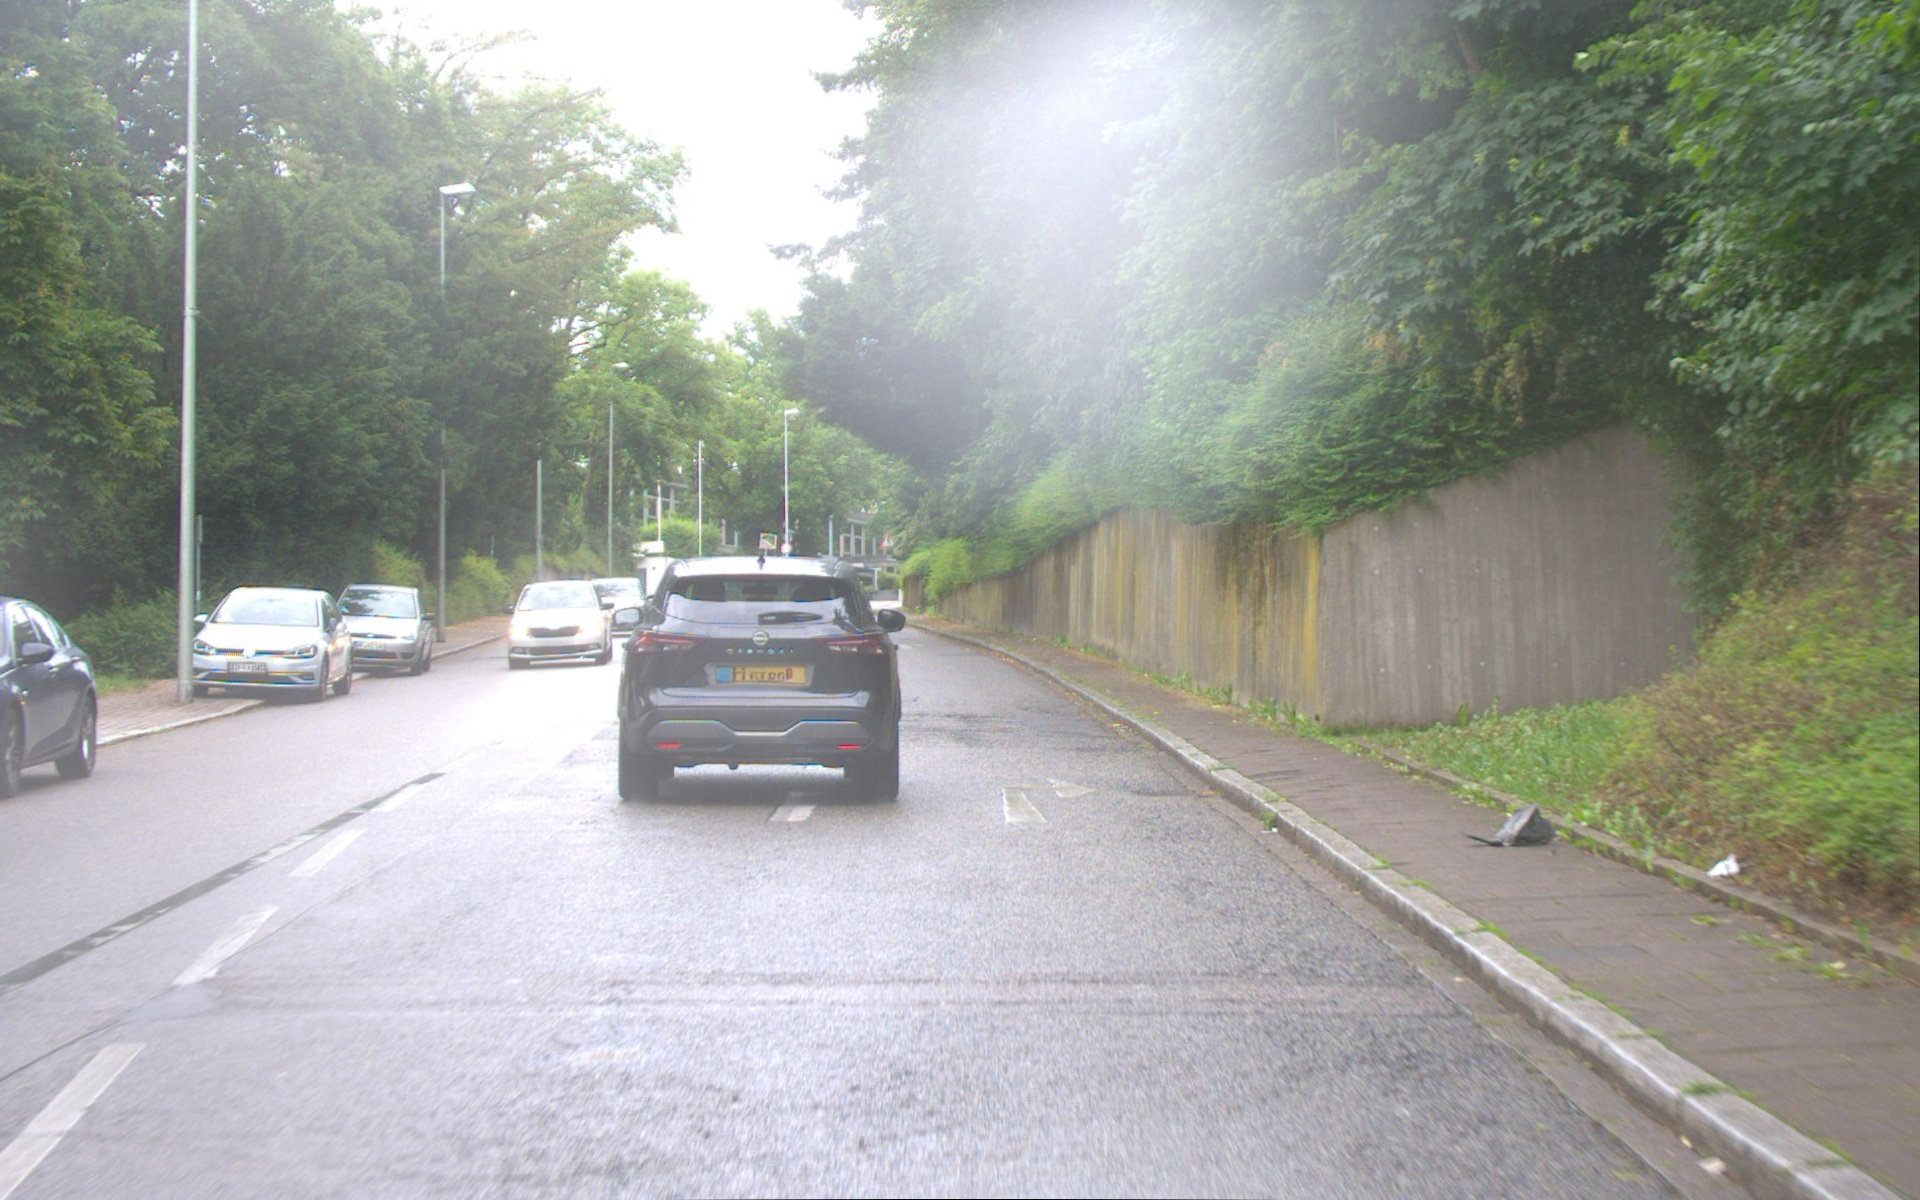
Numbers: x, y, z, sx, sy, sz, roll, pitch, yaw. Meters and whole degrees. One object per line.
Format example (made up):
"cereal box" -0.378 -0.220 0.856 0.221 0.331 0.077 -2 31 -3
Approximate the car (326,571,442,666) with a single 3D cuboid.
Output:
"car" -9.649 0.279 57.804 1.625 1.494 3.929 1 0 -6

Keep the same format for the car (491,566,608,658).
"car" -7.073 0.179 59.513 1.724 1.430 3.913 -3 1 -4

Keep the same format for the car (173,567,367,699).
"car" -9.234 0.402 46.293 1.886 1.606 4.240 -3 1 -3

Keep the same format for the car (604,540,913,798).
"car" -1.400 0.411 23.553 1.928 1.607 4.001 0 1 -4

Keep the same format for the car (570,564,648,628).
"car" -8.671 -0.111 85.152 1.760 1.486 4.001 -2 1 -4

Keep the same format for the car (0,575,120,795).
"car" -7.674 0.632 25.622 1.859 1.488 4.756 -4 1 -4
